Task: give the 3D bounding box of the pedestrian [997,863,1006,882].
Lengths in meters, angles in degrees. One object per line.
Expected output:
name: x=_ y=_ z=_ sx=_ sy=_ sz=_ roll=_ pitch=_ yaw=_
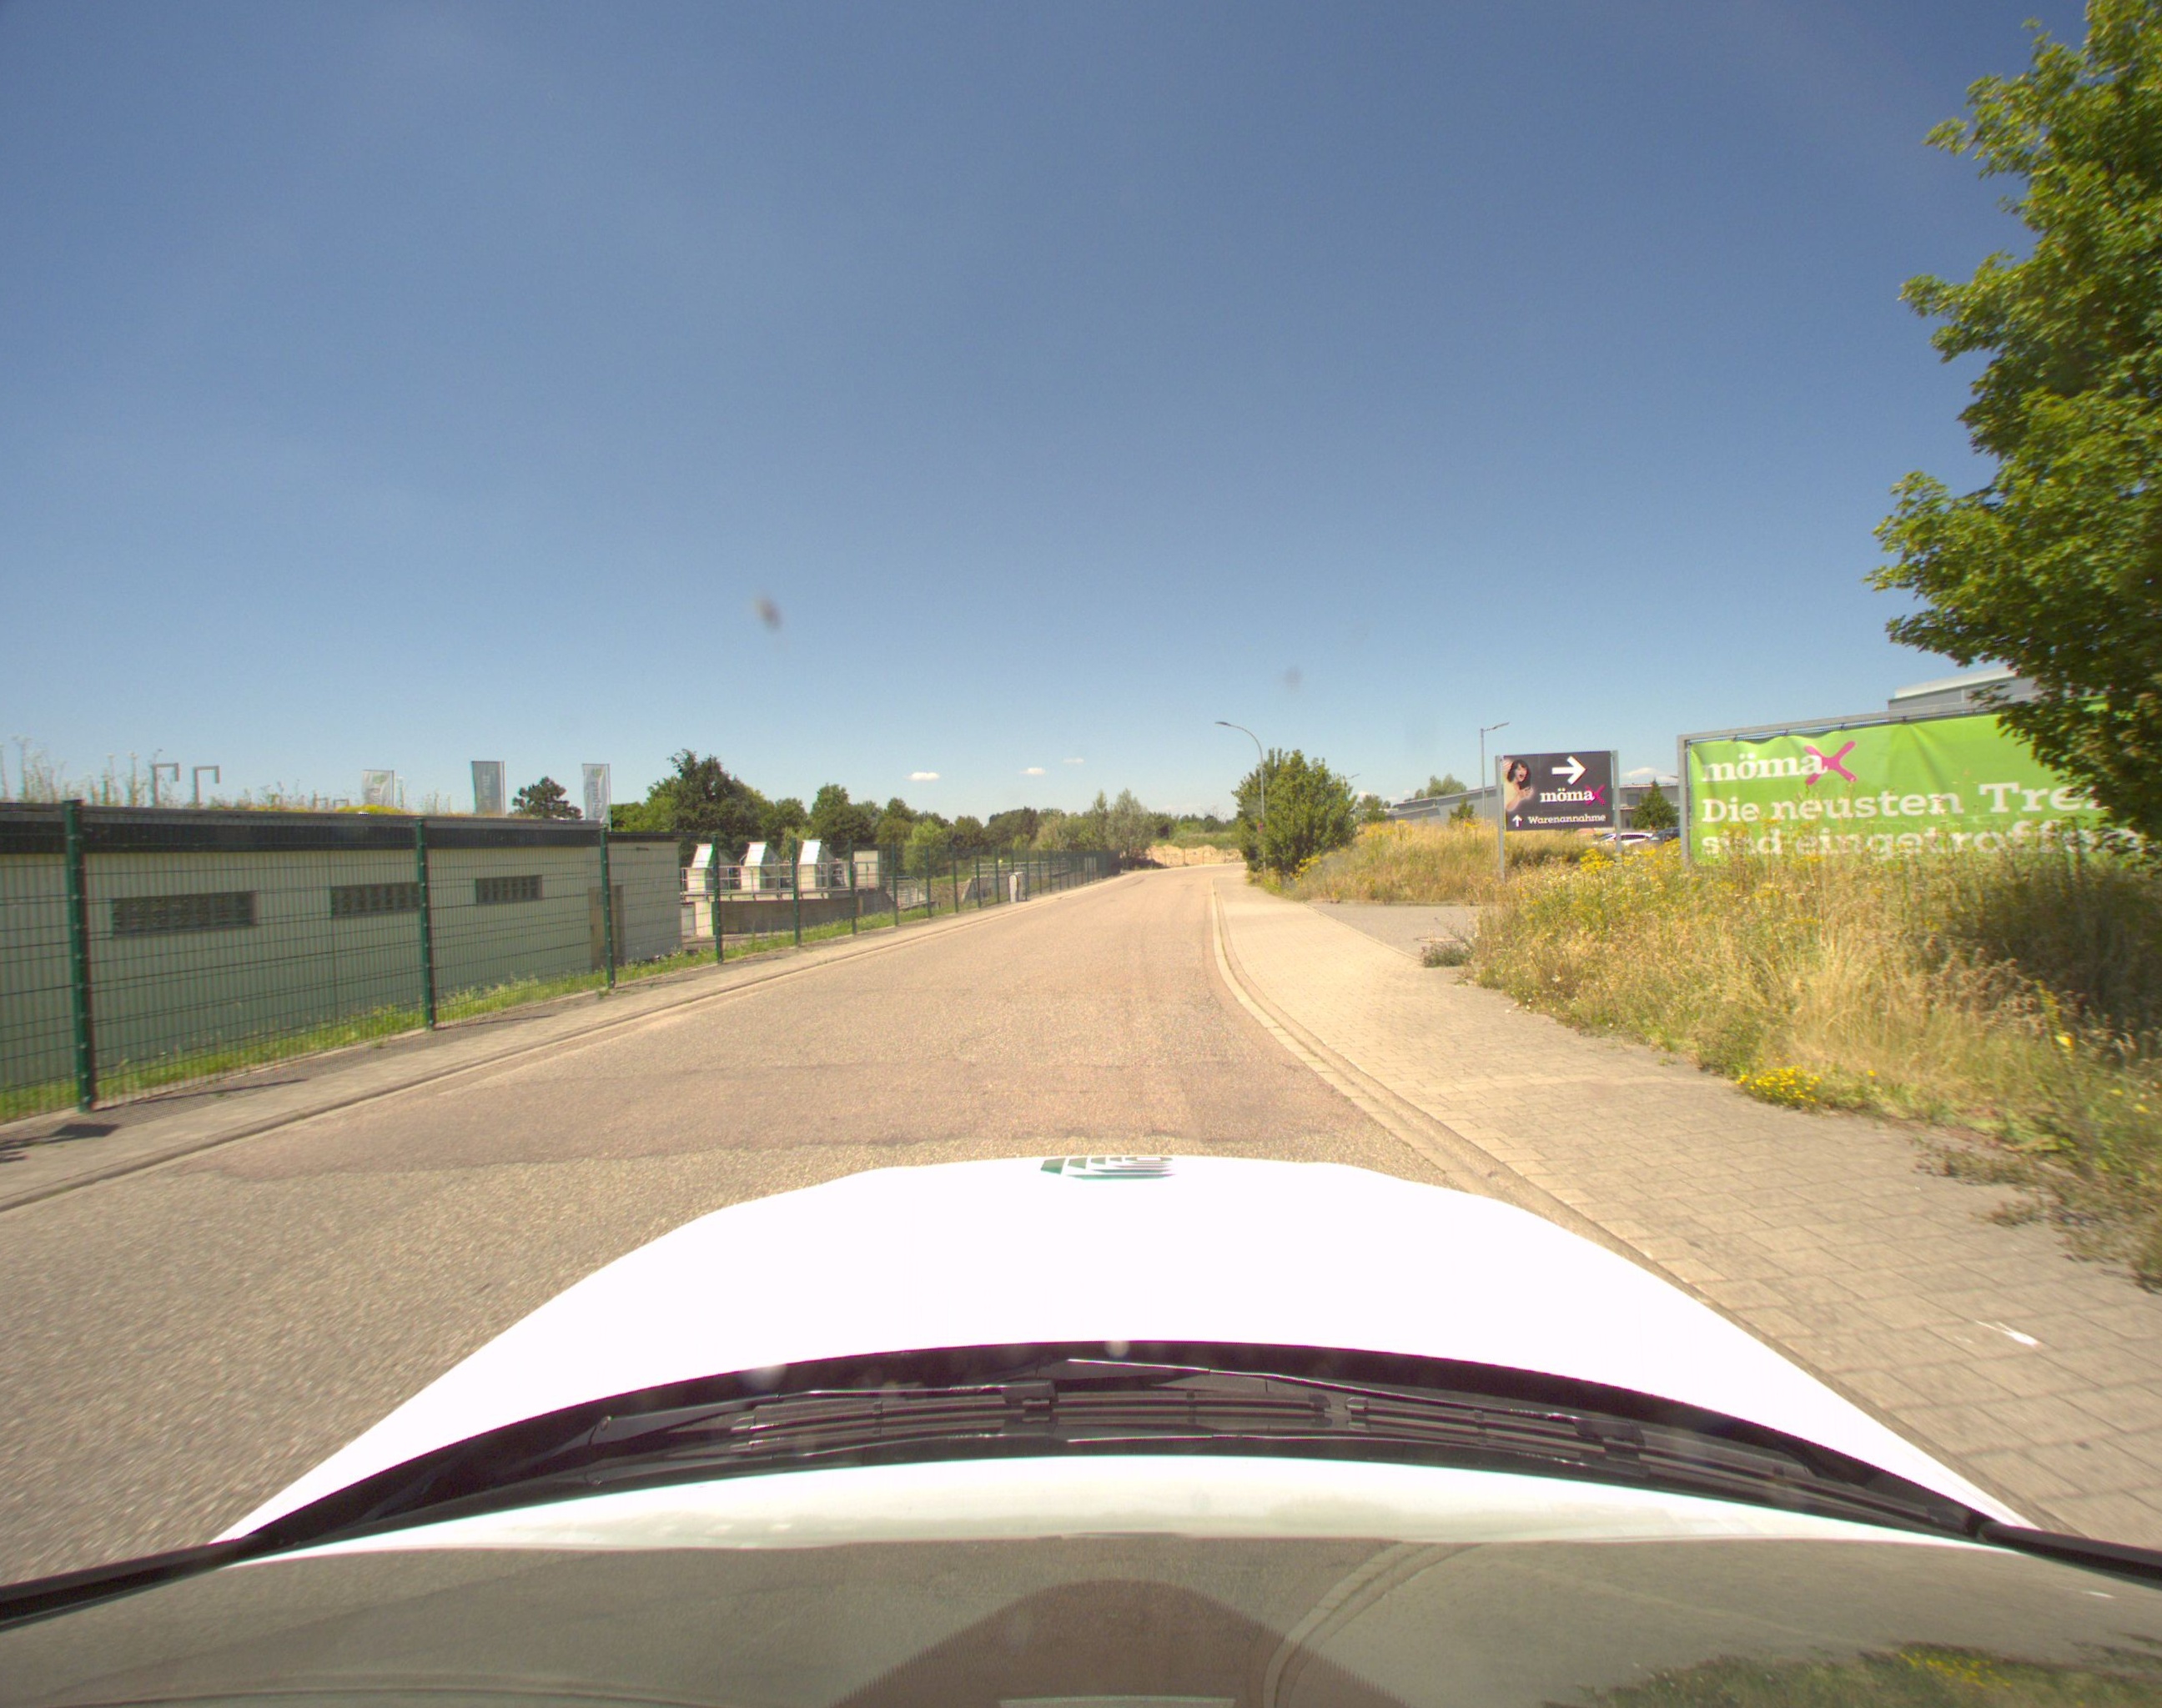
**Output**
pedestrian: x=-7.871 y=1.806 z=80.692 sx=0.602 sy=1.839 sz=0.806 roll=-3 pitch=-1 yaw=7
